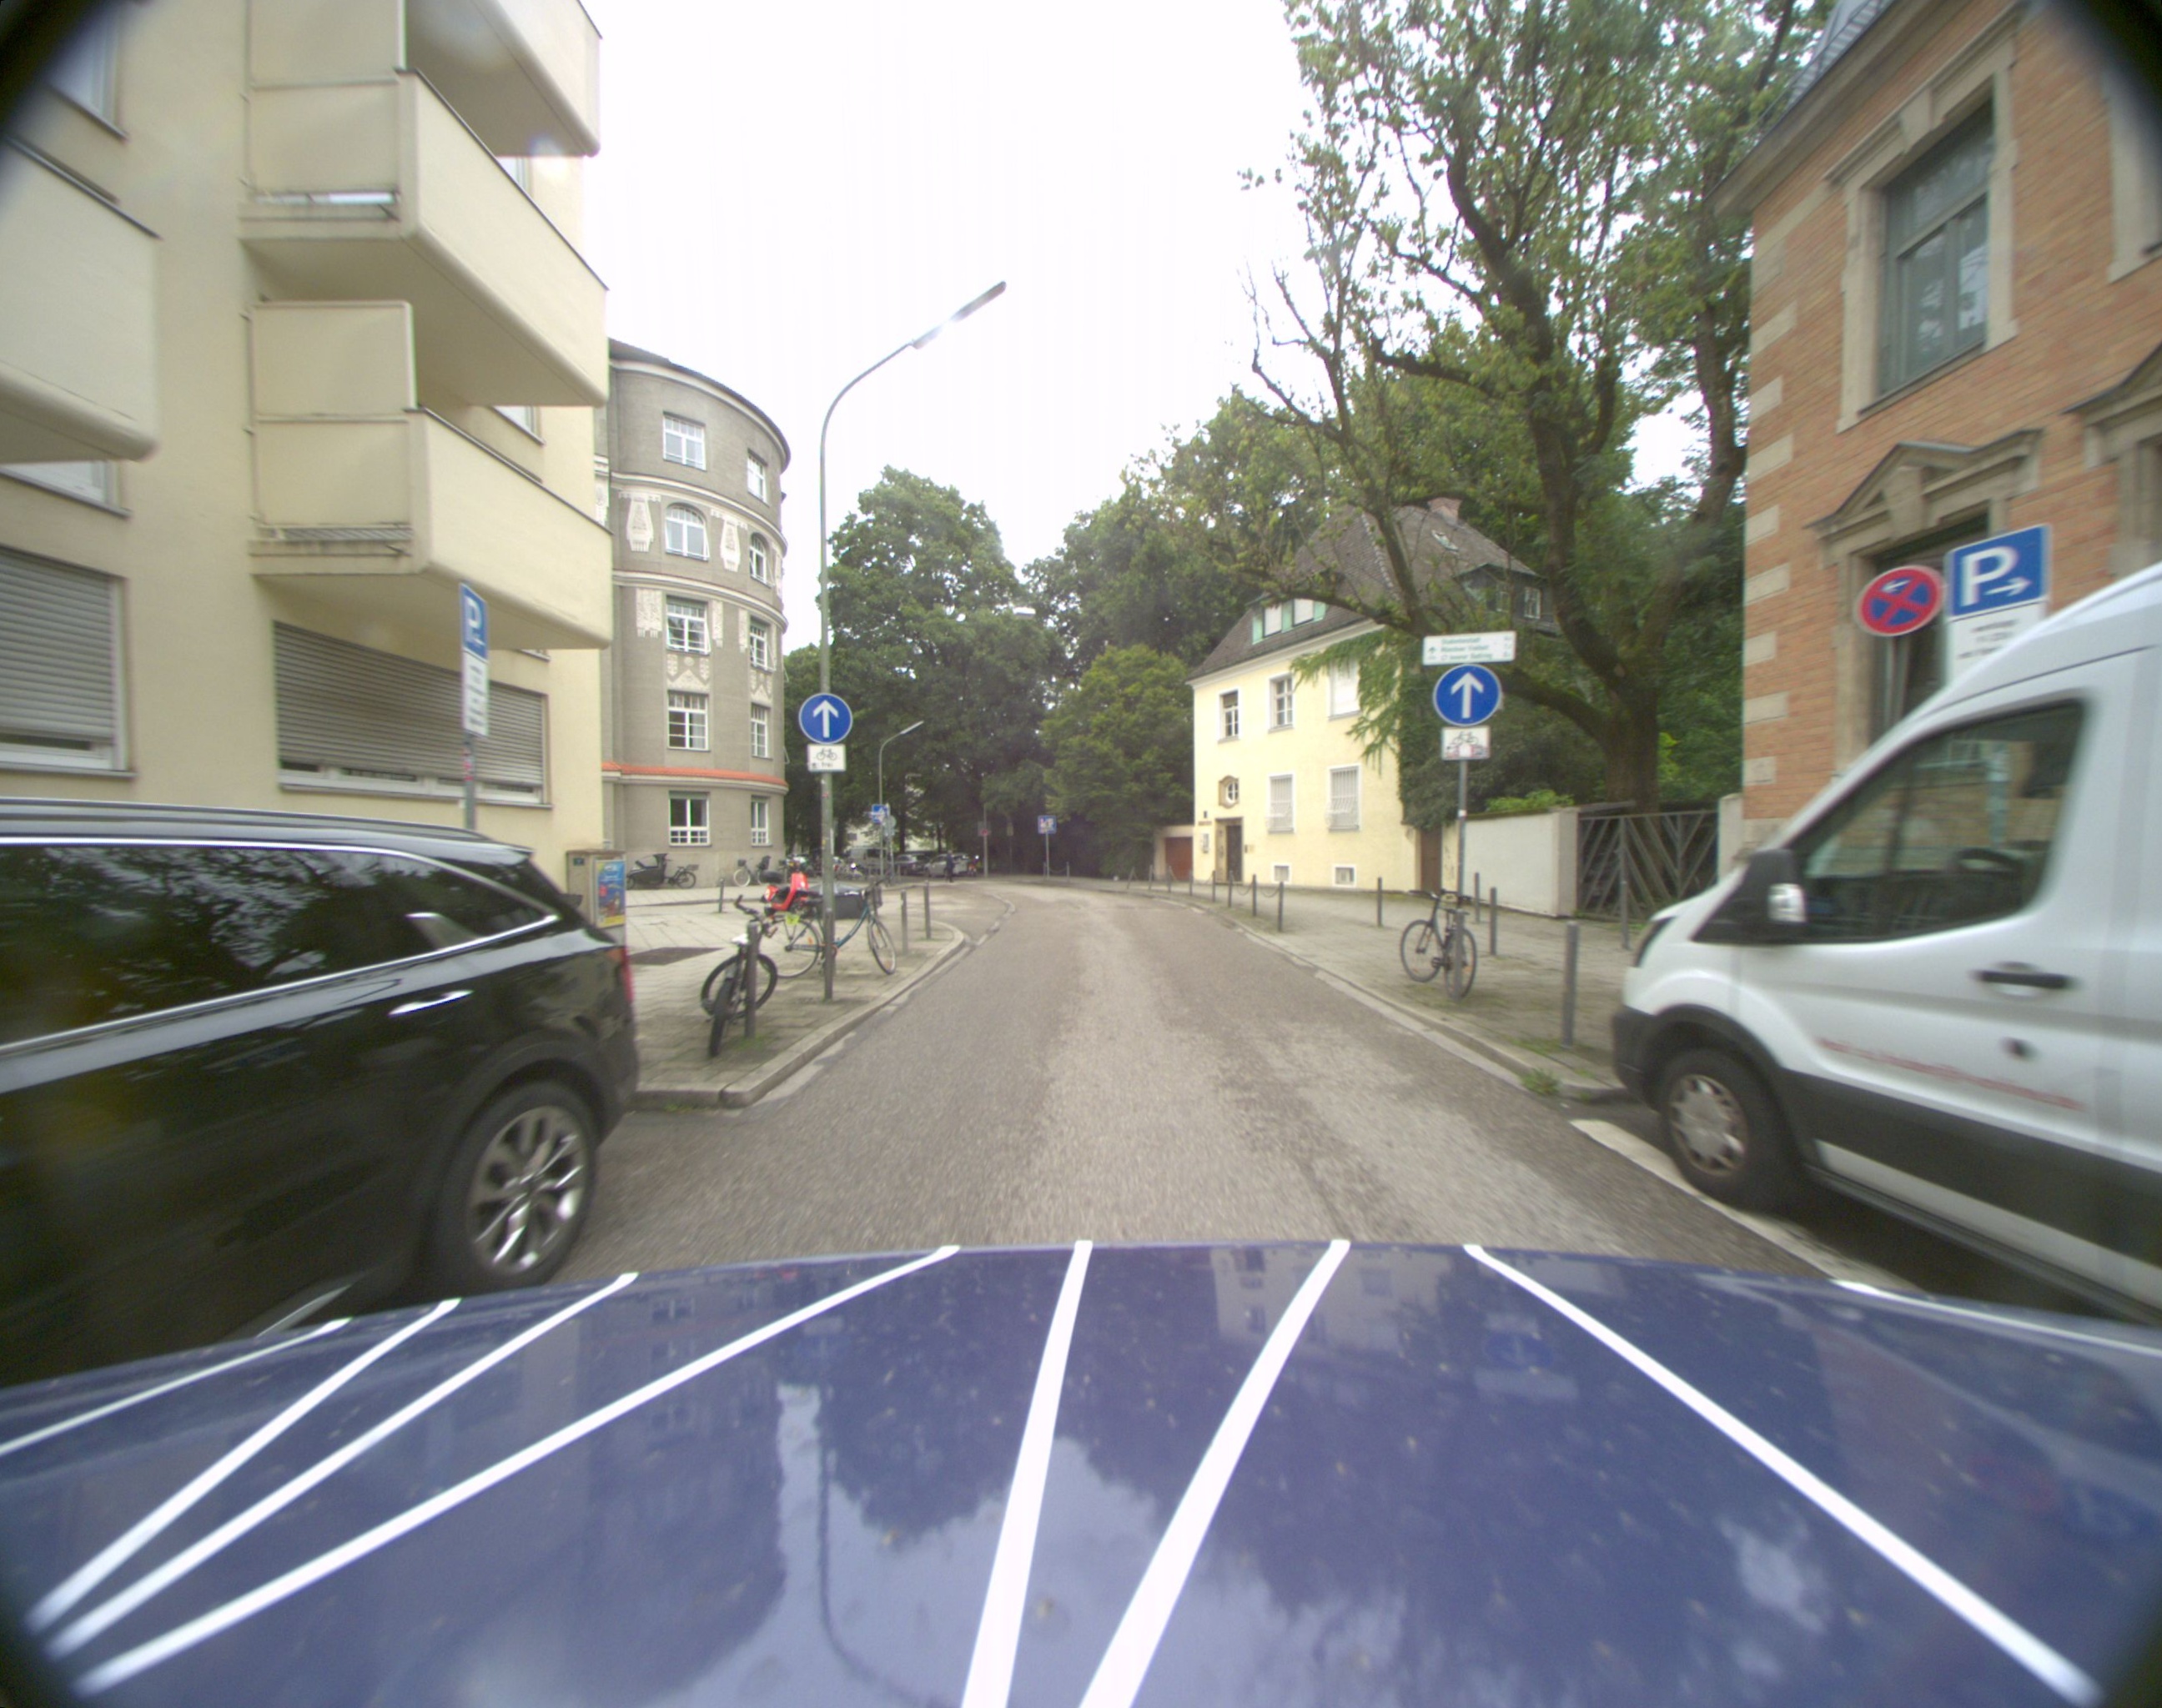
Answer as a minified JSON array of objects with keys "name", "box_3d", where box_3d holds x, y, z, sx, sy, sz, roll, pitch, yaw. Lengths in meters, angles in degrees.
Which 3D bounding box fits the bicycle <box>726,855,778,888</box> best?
[{"name":"bicycle","box_3d":[-13.612,0.701,31.523,0.736,1.249,1.929,1,2,26]}]

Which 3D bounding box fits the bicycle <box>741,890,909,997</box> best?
[{"name":"bicycle","box_3d":[-2.970,1.003,8.878,1.764,1.060,0.774,-1,2,-21]}]

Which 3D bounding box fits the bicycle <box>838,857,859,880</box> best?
[{"name":"bicycle","box_3d":[-12.223,0.729,39.991,0.511,1.140,1.684,0,2,4]}]

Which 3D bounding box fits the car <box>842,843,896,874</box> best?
[{"name":"car","box_3d":[-15.180,0.301,54.166,2.050,2.030,4.944,-2,1,-37]}]

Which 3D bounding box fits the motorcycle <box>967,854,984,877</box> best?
[{"name":"motorcycle","box_3d":[-6.047,0.668,43.429,0.859,1.177,2.004,-4,2,-9]}]

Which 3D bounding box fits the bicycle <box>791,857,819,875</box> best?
[{"name":"bicycle","box_3d":[-17.977,0.751,49.575,1.685,1.141,0.511,-1,2,-18]}]

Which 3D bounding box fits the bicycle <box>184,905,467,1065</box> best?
[{"name":"bicycle","box_3d":[-6.440,1.052,6.636,0.581,1.048,1.763,0,1,5]}]

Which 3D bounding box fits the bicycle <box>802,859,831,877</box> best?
[{"name":"bicycle","box_3d":[-16.750,0.878,48.100,1.685,1.141,0.511,-1,2,-18]}]

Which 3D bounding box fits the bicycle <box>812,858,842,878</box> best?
[{"name":"bicycle","box_3d":[-15.376,0.855,45.971,1.685,1.141,0.511,-1,2,-18]}]

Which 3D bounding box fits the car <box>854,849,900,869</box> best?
[{"name":"car","box_3d":[-15.603,0.343,57.991,1.628,1.440,4.423,-2,1,-39]}]

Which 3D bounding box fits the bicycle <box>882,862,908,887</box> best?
[{"name":"bicycle","box_3d":[-8.063,0.863,32.938,0.511,1.004,2.008,0,1,4]}]

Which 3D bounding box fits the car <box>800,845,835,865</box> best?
[{"name":"car","box_3d":[-24.506,0.084,70.575,1.780,1.808,4.504,-1,1,-37]}]

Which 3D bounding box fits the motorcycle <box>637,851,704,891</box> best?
[{"name":"motorcycle","box_3d":[-15.666,0.625,29.006,2.150,1.432,0.736,-1,2,-35]}]

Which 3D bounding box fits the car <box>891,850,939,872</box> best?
[{"name":"car","box_3d":[-11.545,0.446,52.621,1.628,1.440,4.423,-2,1,-36]}]

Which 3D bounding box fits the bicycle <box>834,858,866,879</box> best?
[{"name":"bicycle","box_3d":[-13.085,0.817,43.014,1.685,1.141,0.465,-1,2,-18]}]

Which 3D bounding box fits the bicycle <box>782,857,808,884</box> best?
[{"name":"bicycle","box_3d":[-12.961,0.730,34.479,0.565,1.150,1.925,3,1,-6]}]

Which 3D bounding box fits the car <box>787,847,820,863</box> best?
[{"name":"car","box_3d":[-27.586,0.088,75.422,1.780,1.424,4.504,-2,1,-37]}]

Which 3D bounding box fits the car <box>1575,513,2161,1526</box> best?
[{"name":"car","box_3d":[3.613,0.424,1.292,1.997,2.454,5.470,1,1,1]}]

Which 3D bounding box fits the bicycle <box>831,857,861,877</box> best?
[{"name":"bicycle","box_3d":[-13.913,0.773,44.944,1.685,1.141,0.511,-1,2,-18]}]

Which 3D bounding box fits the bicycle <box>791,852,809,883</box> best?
[{"name":"bicycle","box_3d":[-13.544,0.644,36.589,0.739,1.405,1.922,-1,2,-21]}]

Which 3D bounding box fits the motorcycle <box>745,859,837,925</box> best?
[{"name":"motorcycle","box_3d":[-6.404,0.795,16.743,2.078,1.348,0.819,0,2,34]}]

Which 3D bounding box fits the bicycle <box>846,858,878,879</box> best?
[{"name":"bicycle","box_3d":[-12.255,0.820,42.474,1.710,1.141,0.511,-1,2,-18]}]

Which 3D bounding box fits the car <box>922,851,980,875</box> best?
[{"name":"car","box_3d":[-8.248,0.537,47.999,1.628,1.440,4.423,-2,1,-39]}]

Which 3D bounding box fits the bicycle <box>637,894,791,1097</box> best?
[{"name":"bicycle","box_3d":[-2.729,0.959,5.866,0.581,1.147,1.960,-1,2,-12]}]

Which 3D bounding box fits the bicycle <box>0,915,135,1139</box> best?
[{"name":"bicycle","box_3d":[-6.411,1.014,4.001,0.689,1.199,1.761,0,2,-5]}]

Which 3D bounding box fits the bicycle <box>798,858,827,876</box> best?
[{"name":"bicycle","box_3d":[-17.197,0.815,48.700,1.685,1.141,0.511,-1,2,-18]}]

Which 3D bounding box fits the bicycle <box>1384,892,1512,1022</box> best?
[{"name":"bicycle","box_3d":[3.667,0.976,7.759,0.581,1.048,1.763,0,1,5]}]

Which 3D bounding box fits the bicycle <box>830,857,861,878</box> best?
[{"name":"bicycle","box_3d":[-13.758,0.776,44.335,1.685,1.141,0.511,-1,2,-18]}]

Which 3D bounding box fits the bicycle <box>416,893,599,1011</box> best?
[{"name":"bicycle","box_3d":[-6.304,1.029,8.492,0.581,1.048,1.763,0,1,5]}]

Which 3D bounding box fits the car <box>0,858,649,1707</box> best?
[{"name":"car","box_3d":[-2.866,0.889,1.062,1.854,1.629,4.549,0,1,1]}]

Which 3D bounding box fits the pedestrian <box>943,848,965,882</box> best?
[{"name":"pedestrian","box_3d":[-6.287,0.520,37.486,0.728,1.632,0.810,-2,2,-44]}]
